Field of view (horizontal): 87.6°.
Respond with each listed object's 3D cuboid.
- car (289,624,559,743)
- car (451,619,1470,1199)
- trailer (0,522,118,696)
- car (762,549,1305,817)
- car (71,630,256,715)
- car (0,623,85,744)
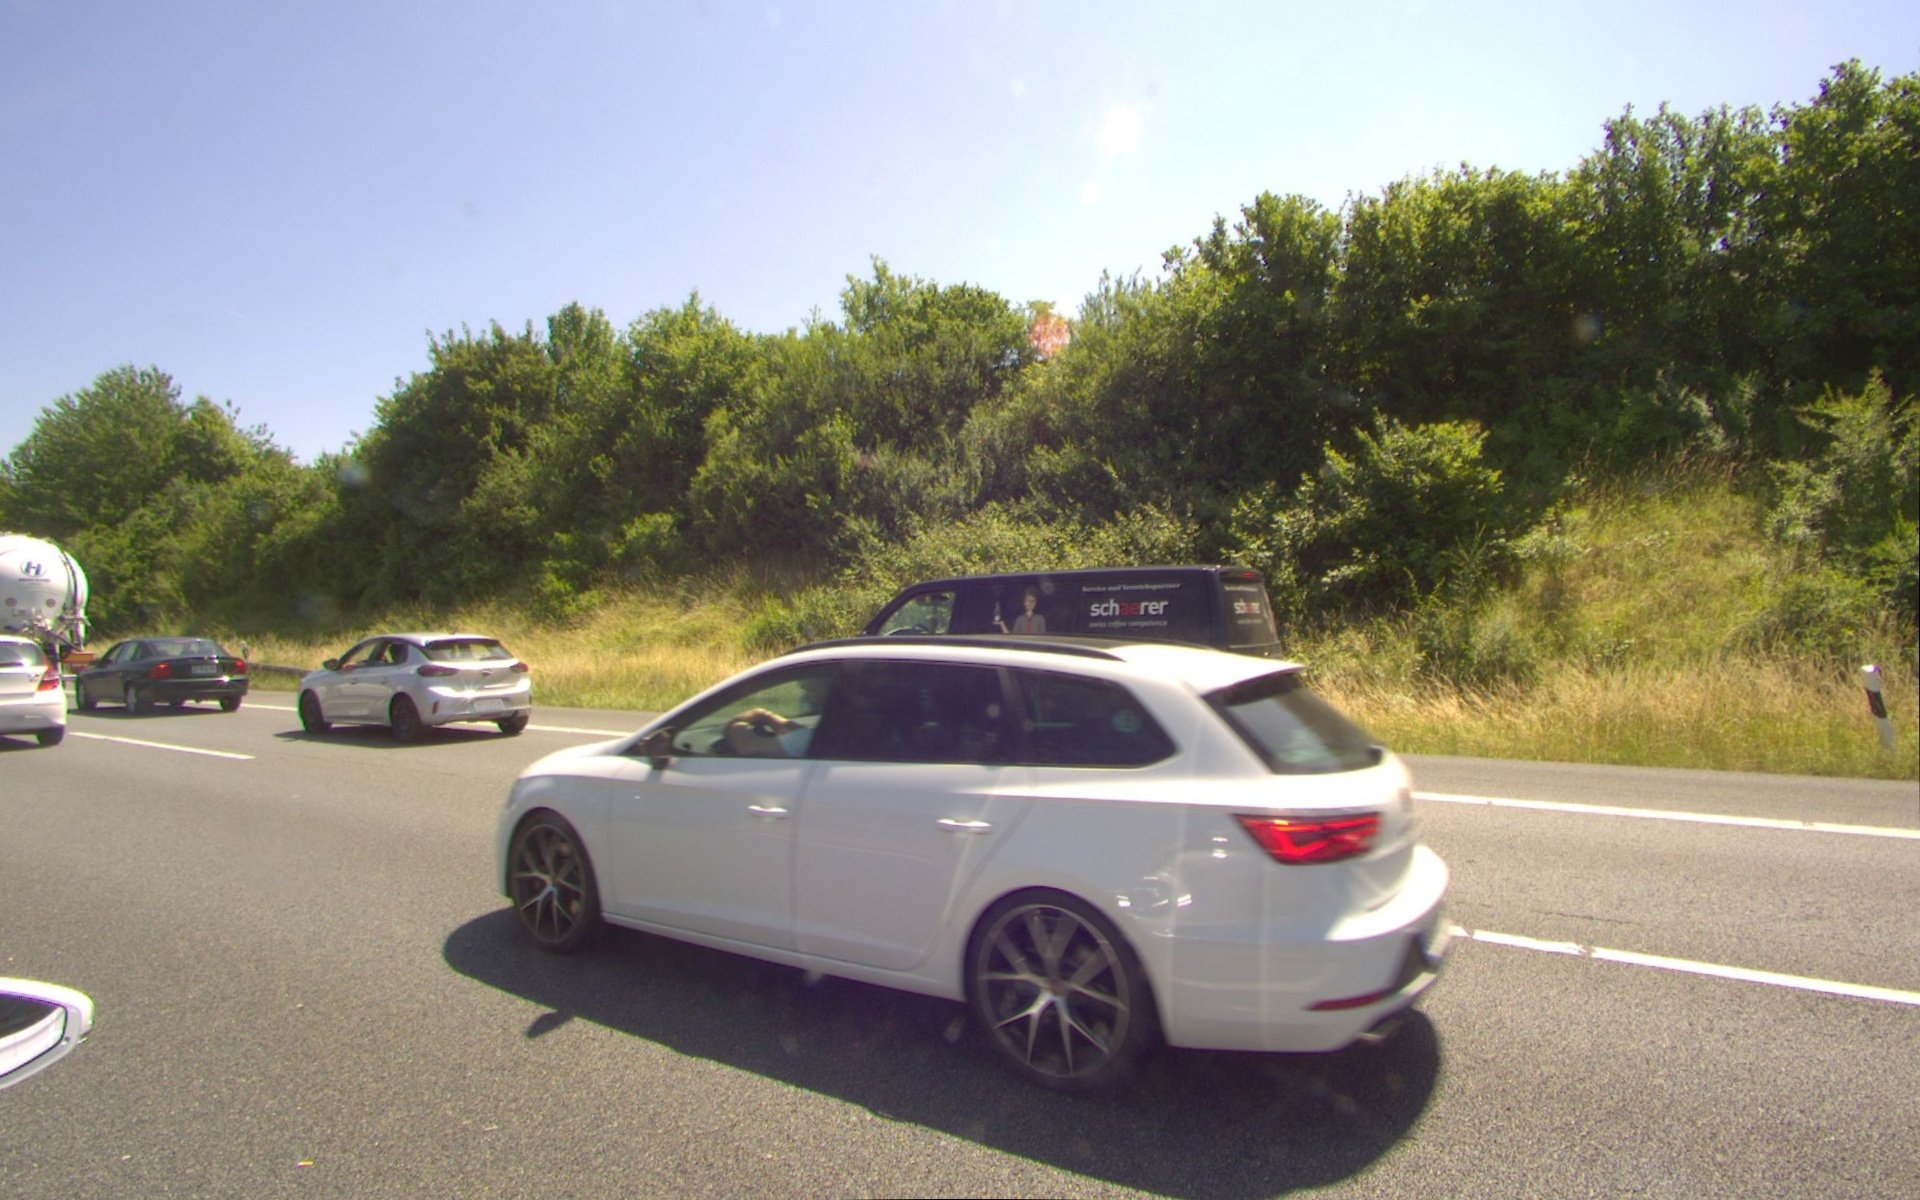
[{"bbox_3d":[-7.774,1.095,14.447,3.971,1.462,1.727,0,0,33],"label":"car"},{"bbox_3d":[-0.227,0.864,4.431,4.254,1.462,1.743,-2,-1,34],"label":"car"},{"bbox_3d":[-25.904,0.318,26.113,11.323,3.895,2.755,-1,-1,32],"label":"trailer"},{"bbox_3d":[0.552,0.692,9.471,4.790,1.965,1.909,-2,-1,34],"label":"car"},{"bbox_3d":[-15.396,1.352,19.309,3.934,1.435,1.637,-2,0,34],"label":"car"},{"bbox_3d":[-13.614,1.104,13.496,3.946,1.504,1.812,-2,-1,34],"label":"car"}]
